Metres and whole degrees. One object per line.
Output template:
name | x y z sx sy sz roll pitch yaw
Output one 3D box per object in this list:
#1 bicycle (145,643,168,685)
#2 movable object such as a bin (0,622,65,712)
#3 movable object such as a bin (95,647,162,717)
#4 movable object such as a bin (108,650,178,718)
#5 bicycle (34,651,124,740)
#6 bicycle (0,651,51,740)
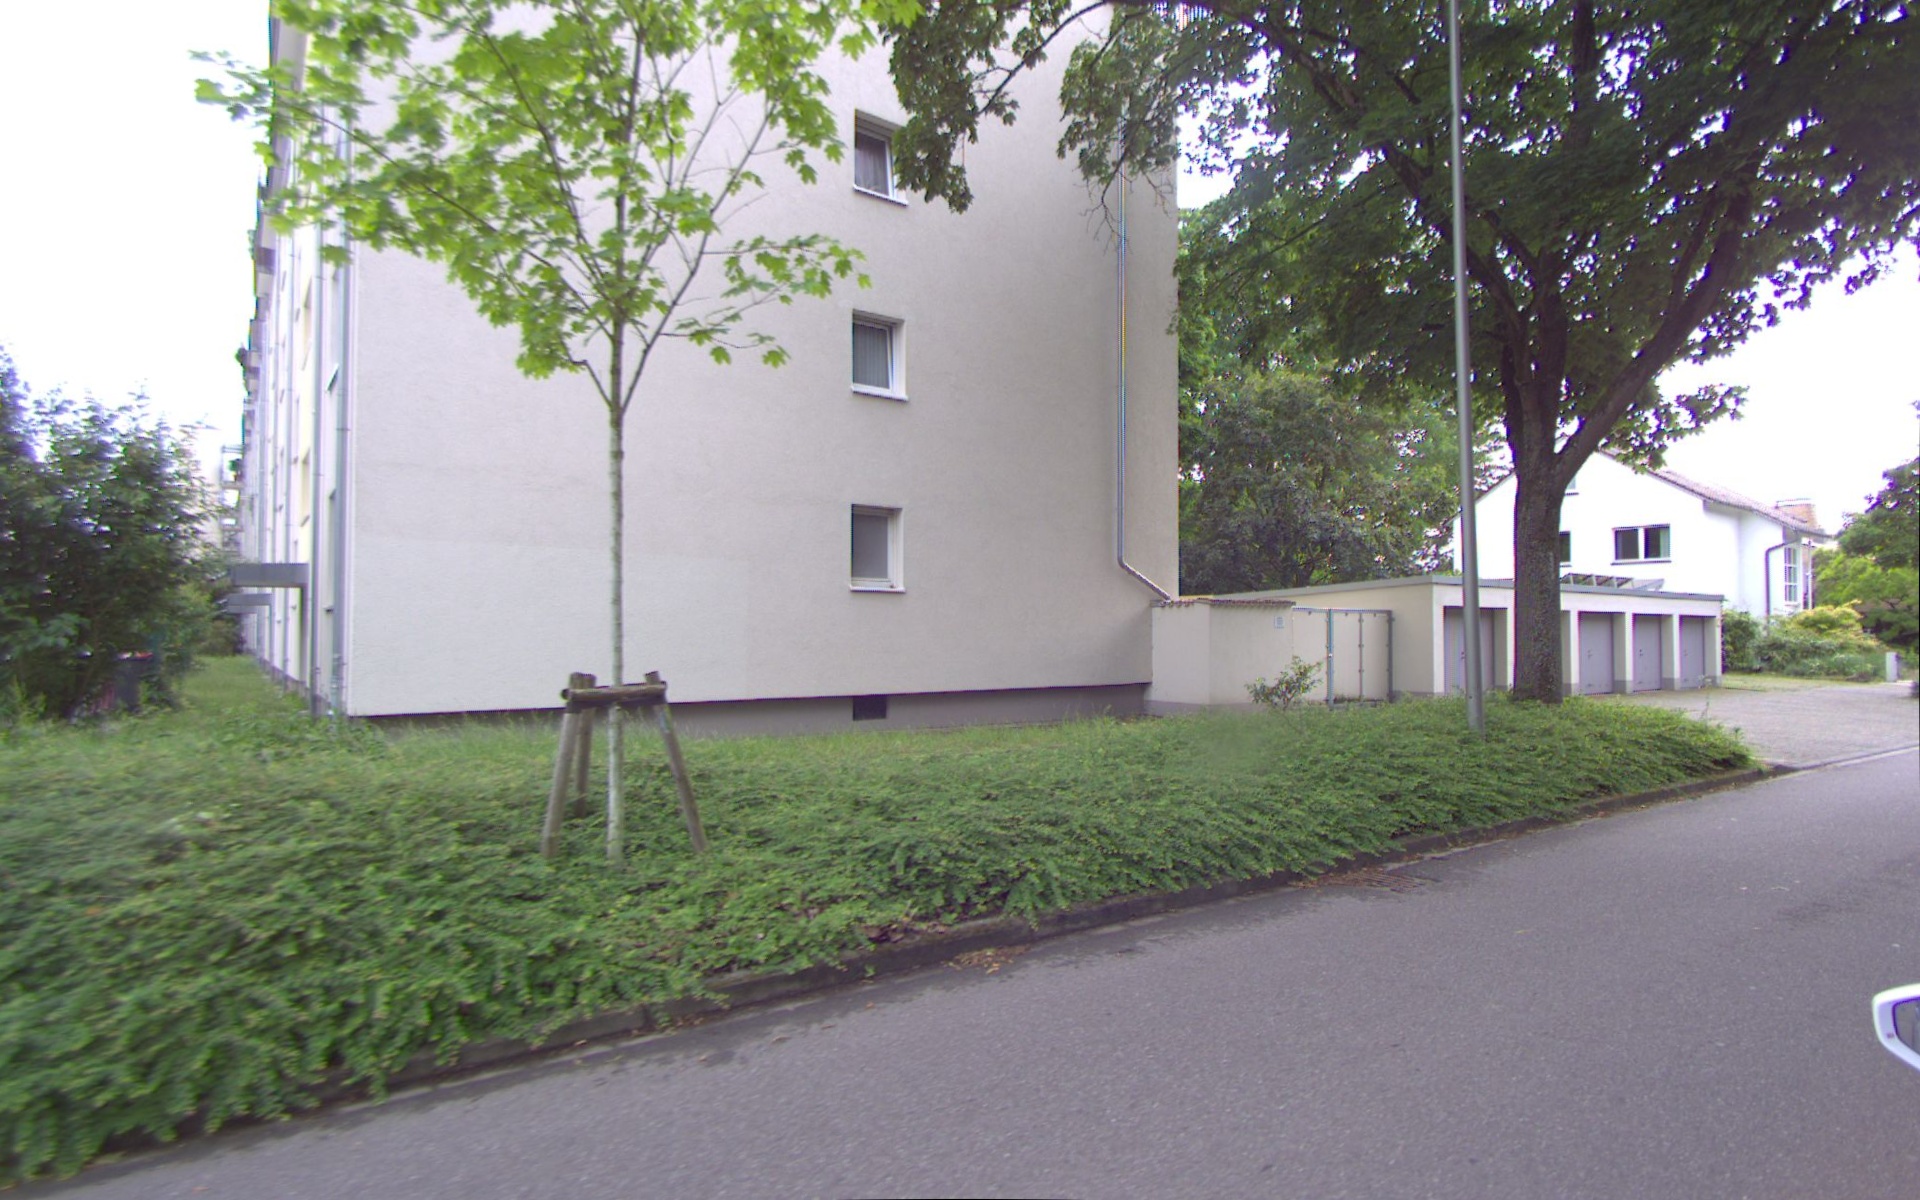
bicycle | -20.579 1.635 25.728 0.418 1.038 1.541 1 -2 -39
movable object such as a bin | -15.992 1.100 16.642 1.580 1.439 1.654 1 -2 -37
movable object such as a bin | -13.998 1.365 16.925 0.837 1.131 0.591 1 -3 -39
movable object such as a bin | -13.435 1.362 16.547 0.859 1.065 0.627 1 -3 -38
bicycle | -11.742 1.228 13.441 0.653 1.084 2.154 1 -3 -35
bicycle | -12.573 1.219 13.201 0.653 1.084 2.154 1 -3 -35
